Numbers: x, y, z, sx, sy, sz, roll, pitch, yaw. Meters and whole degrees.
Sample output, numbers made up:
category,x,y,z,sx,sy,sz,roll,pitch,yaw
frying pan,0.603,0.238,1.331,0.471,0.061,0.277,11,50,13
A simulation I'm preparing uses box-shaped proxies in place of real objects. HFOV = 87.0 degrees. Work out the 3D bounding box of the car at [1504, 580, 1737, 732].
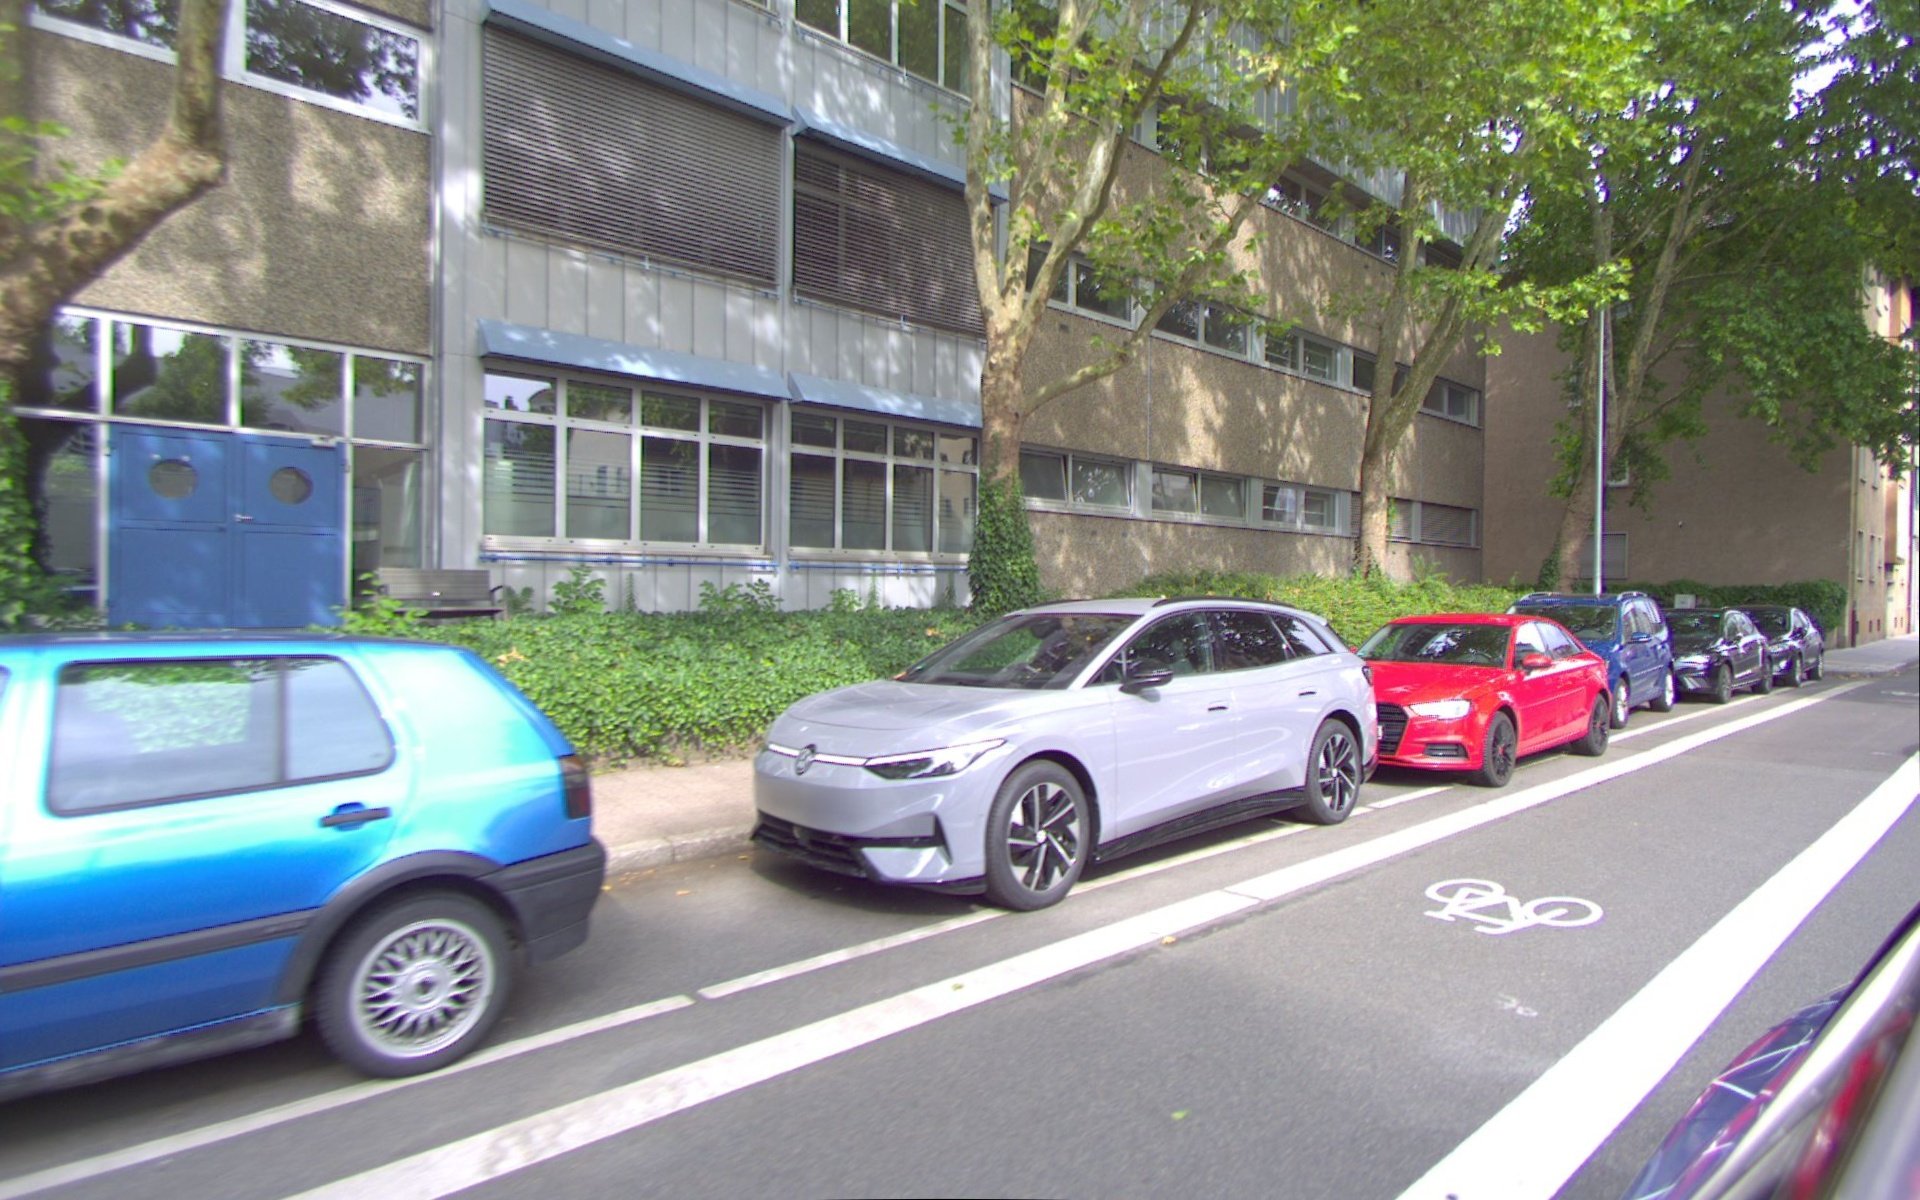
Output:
category,x,y,z,sx,sy,sz,roll,pitch,yaw
car,8.762,0.616,13.261,4.347,1.672,1.658,0,-1,-44

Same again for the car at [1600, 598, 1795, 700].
category,x,y,z,sx,sy,sz,roll,pitch,yaw
car,12.063,0.715,16.466,3.876,1.440,1.661,0,0,-40

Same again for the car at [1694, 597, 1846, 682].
category,x,y,z,sx,sy,sz,roll,pitch,yaw
car,15.690,0.720,19.531,3.799,1.440,1.660,1,0,-42

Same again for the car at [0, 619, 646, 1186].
category,x,y,z,sx,sy,sz,roll,pitch,yaw
car,-3.150,0.784,3.011,3.929,1.403,1.625,0,-1,-40

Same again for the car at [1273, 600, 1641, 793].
category,x,y,z,sx,sy,sz,roll,pitch,yaw
car,4.929,0.724,9.725,4.384,1.411,1.678,0,1,-42

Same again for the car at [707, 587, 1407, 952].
category,x,y,z,sx,sy,sz,roll,pitch,yaw
car,0.954,0.699,6.521,4.788,1.536,1.730,0,0,-42
